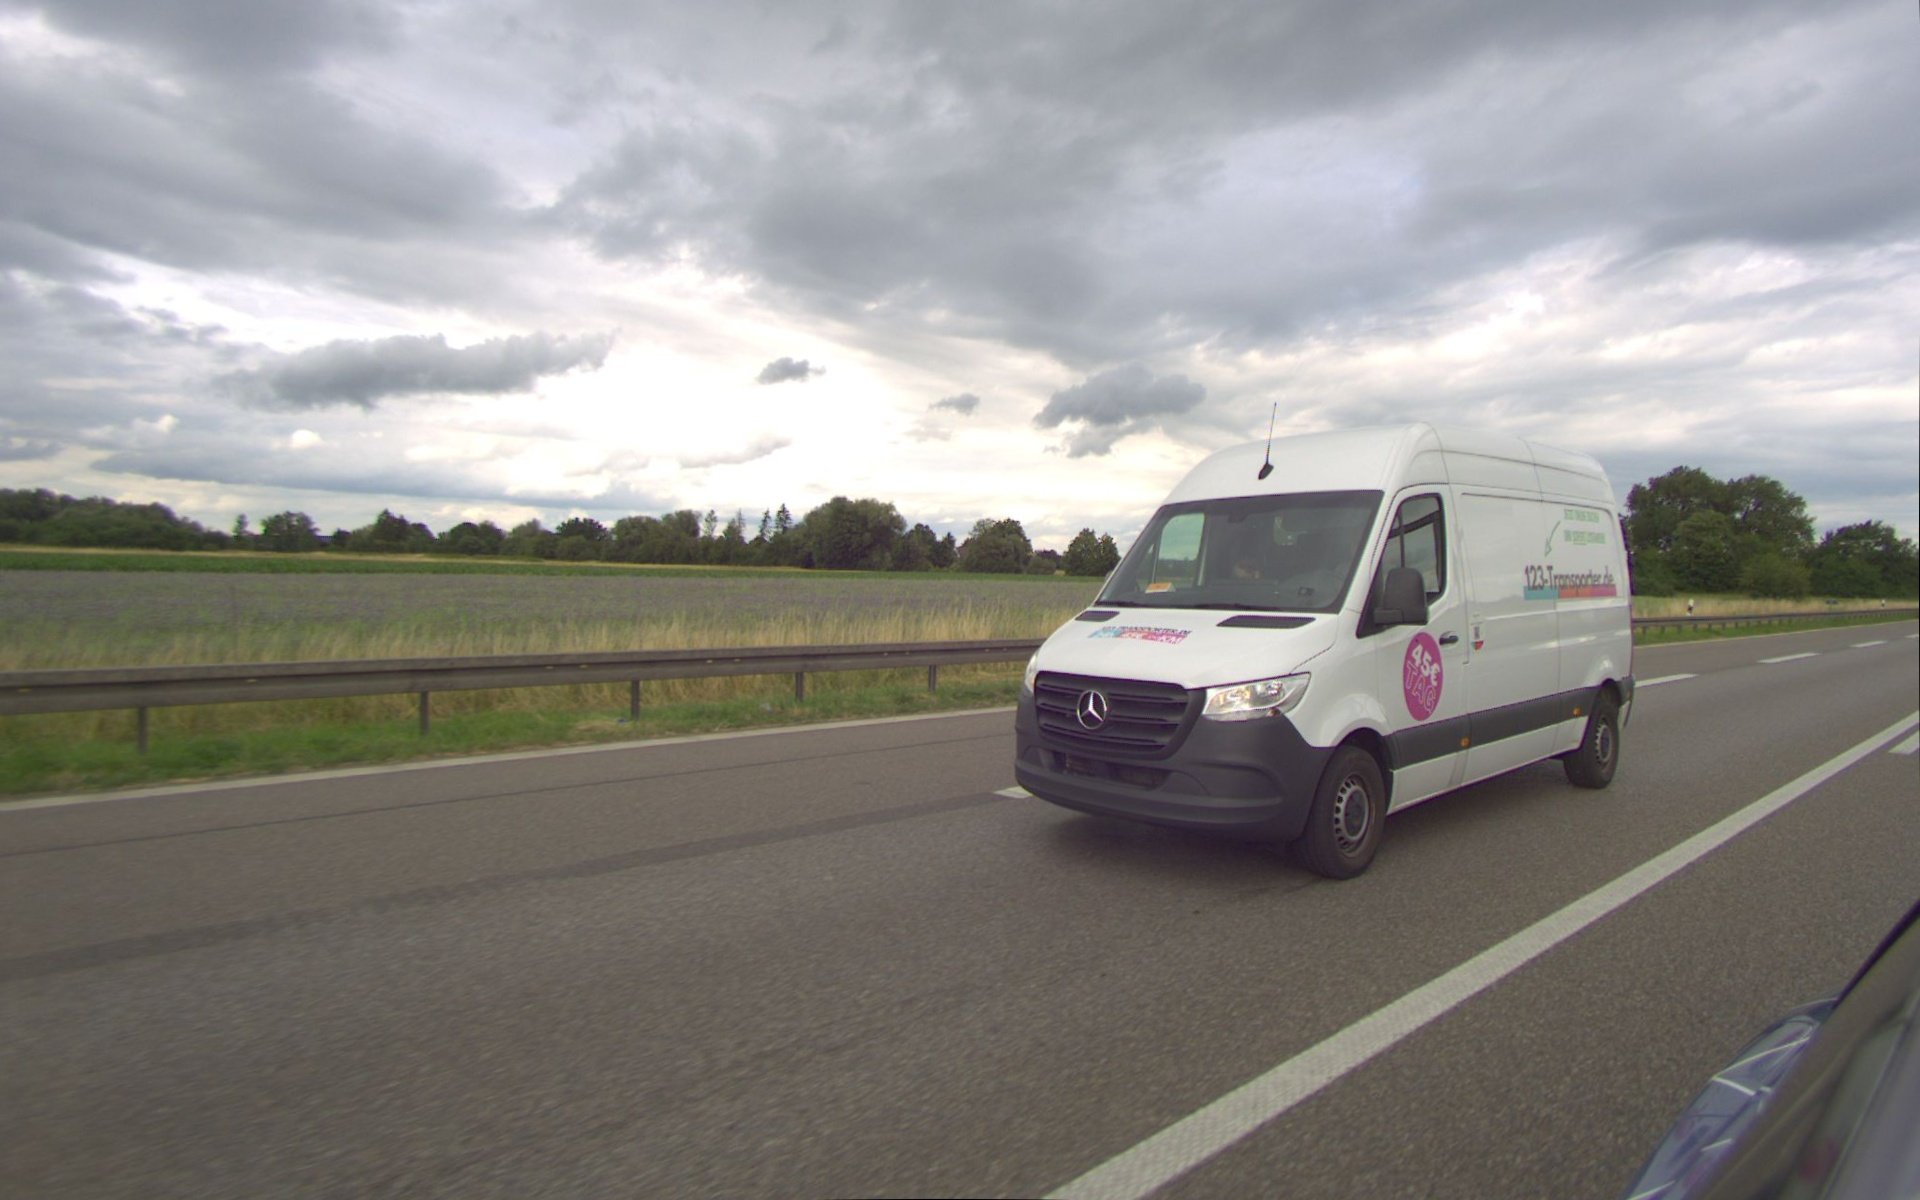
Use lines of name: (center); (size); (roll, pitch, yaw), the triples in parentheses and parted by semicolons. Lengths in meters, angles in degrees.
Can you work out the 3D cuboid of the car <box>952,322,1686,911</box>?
car: (3.008, 0.053, 7.322); (6.145, 2.600, 2.225); (0, 1, -40)
